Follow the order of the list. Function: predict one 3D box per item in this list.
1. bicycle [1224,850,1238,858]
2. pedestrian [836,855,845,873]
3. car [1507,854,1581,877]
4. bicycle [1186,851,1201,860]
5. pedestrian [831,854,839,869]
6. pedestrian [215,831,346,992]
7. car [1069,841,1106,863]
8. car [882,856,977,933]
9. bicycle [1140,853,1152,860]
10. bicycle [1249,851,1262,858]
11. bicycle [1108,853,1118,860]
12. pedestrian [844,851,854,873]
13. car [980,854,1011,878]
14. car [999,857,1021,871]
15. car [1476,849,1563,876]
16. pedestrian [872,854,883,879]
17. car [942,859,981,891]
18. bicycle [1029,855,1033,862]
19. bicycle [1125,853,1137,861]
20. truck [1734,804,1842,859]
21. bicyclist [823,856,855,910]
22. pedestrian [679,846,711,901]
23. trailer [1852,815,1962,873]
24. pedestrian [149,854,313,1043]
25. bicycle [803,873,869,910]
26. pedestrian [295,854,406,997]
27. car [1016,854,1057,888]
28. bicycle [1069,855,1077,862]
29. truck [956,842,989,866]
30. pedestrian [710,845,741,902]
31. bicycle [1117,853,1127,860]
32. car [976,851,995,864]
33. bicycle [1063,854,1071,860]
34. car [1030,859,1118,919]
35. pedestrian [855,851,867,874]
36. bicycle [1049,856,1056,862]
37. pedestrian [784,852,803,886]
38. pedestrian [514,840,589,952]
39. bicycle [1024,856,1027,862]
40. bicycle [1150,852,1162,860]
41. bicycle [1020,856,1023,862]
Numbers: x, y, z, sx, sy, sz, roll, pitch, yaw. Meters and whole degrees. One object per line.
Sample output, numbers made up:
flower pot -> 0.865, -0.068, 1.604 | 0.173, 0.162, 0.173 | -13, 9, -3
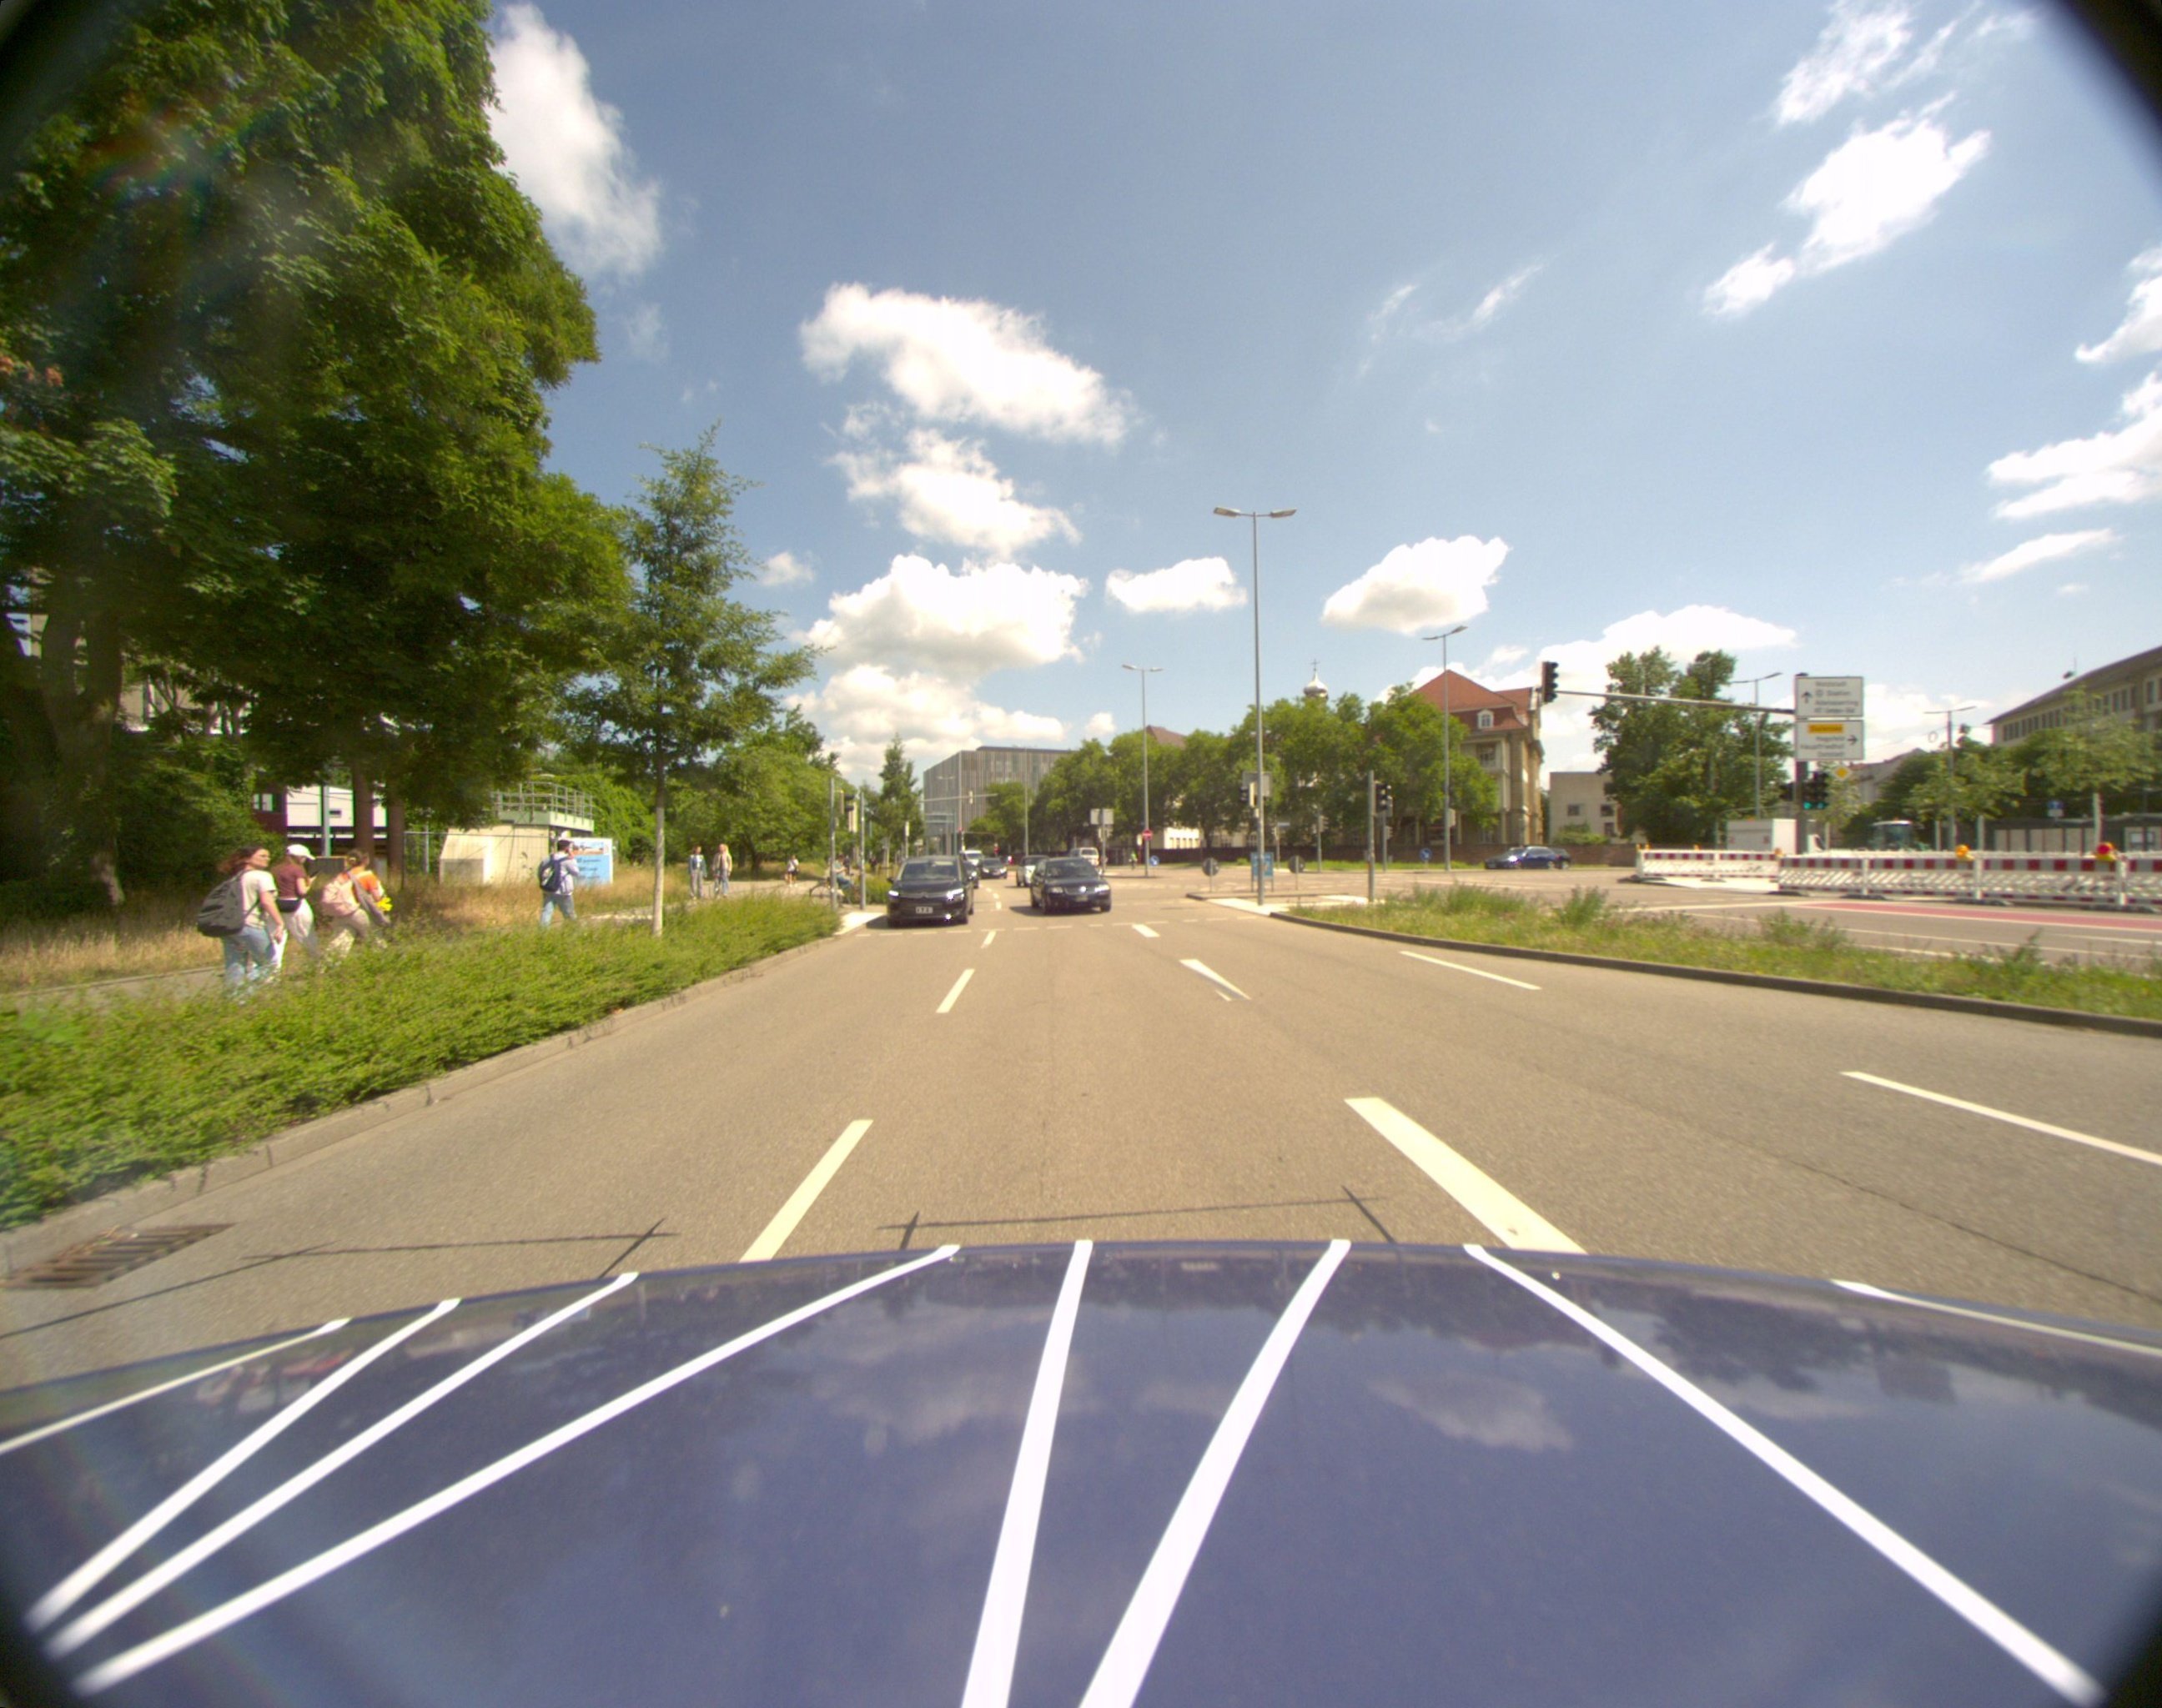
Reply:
bicycle -> 18.281, 0.025, 92.785 | 1.682, 1.024, 0.399 | 0, 1, 44
pedestrian -> -23.183, 0.936, 73.146 | 0.752, 1.739, 0.666 | 1, 0, -20
car -> 32.019, 0.768, 52.522 | 4.515, 1.477, 1.997 | 0, 0, -20
bicycle -> 14.364, 0.140, 96.889 | 0.399, 1.130, 2.033 | -1, 1, -43
pedestrian -> -31.232, 0.939, 96.341 | 0.846, 1.755, 0.840 | -2, 2, -19
pedestrian -> -9.455, 0.653, 9.009 | 0.758, 1.811, 0.637 | -2, 2, -11
car -> 0.547, -0.169, 67.899 | 1.889, 1.883, 4.862 | -1, 0, -18
car -> -3.614, 0.880, 18.884 | 1.863, 1.613, 4.517 | -1, 0, -6
bicycle -> 8.767, 0.348, 103.209 | 0.399, 1.037, 1.952 | -1, 1, -39
bicycle -> 20.750, 0.090, 90.459 | 1.540, 0.784, 0.399 | 0, 1, 44
bicycle -> 4.576, 0.368, 108.690 | 0.399, 1.037, 1.953 | -1, 1, -36
pedestrian -> -18.160, 0.638, 59.506 | 0.669, 1.736, 0.608 | 1, 0, -25
car -> -6.031, 0.803, 53.402 | 1.753, 1.496, 4.515 | -3, 1, -11
car -> -9.117, 1.252, 96.979 | 1.889, 1.614, 4.149 | -2, 0, -19
car -> 25.448, 0.476, 44.106 | 4.674, 1.477, 1.996 | 0, 0, -24
pedestrian -> -14.526, 0.871, 54.227 | 0.669, 1.739, 0.846 | 1, 0, -19
car -> -6.131, 1.019, 38.710 | 1.767, 1.409, 4.359 | -3, 1, -10
bicycle -> -8.542, 0.772, 130.080 | 0.382, 1.101, 1.670 | -1, 0, 2
bicycle -> 6.911, 0.385, 105.721 | 0.399, 1.037, 1.952 | -1, 1, -39
truck -> 41.837, -1.375, 44.914 | 7.338, 3.050, 1.996 | -2, 2, -24
bicyclist -> -7.308, 0.864, 22.983 | 0.831, 1.592, 0.579 | 2, 1, -12
pedestrian -> -12.269, 0.617, 24.144 | 0.752, 1.742, 0.609 | 1, 0, -13
trailer -> 43.443, -0.551, 40.127 | 1.996, 2.897, 4.370 | -1, 1, 17
pedestrian -> -7.820, 0.827, 7.027 | 0.651, 1.617, 0.774 | 2, 2, 4
bicycle -> -7.388, 1.136, 22.974 | 1.816, 1.044, 0.591 | 2, 1, -12
pedestrian -> -8.691, 0.817, 9.076 | 0.589, 1.617, 0.727 | -2, 2, -11
car -> -2.314, 0.804, 38.424 | 1.752, 1.496, 4.517 | -3, 1, -7
bicycle -> -1.247, 0.657, 117.435 | 0.383, 1.037, 1.666 | -1, 0, -32
truck -> -11.541, 0.021, 80.485 | 2.465, 2.287, 5.806 | -3, 1, -18
pedestrian -> -11.508, 0.629, 24.615 | 0.752, 1.792, 0.609 | 1, 0, -13
bicycle -> 5.733, 0.393, 107.213 | 0.399, 1.037, 1.635 | -1, 1, -39
car -> -15.789, 0.613, 125.372 | 2.218, 2.158, 4.513 | 1, 0, -18
bicycle -> -2.166, 0.459, 118.948 | 0.383, 1.037, 1.666 | -1, 0, -32
car -> -0.306, 0.864, 20.675 | 1.753, 1.426, 4.517 | -1, 0, -9
pedestrian -> -17.385, 0.685, 60.100 | 0.753, 1.767, 0.880 | 1, 0, -25
bicycle -> -4.578, 0.809, 123.121 | 0.383, 1.101, 1.666 | -1, 1, -32
pedestrian -> -13.658, 0.718, 36.054 | 0.753, 1.587, 0.880 | 1, 0, -27
pedestrian -> -8.899, 0.693, 12.801 | 0.759, 1.810, 0.779 | 3, 0, -17
bicycle -> -9.667, 0.818, 132.350 | 0.329, 1.012, 1.670 | -1, 0, 2
bicycle -> 10.013, 0.230, 101.606 | 0.399, 1.037, 1.952 | -1, 1, -39
bicycle -> -10.442, 0.822, 133.814 | 0.329, 1.012, 1.670 | -1, 0, 2
